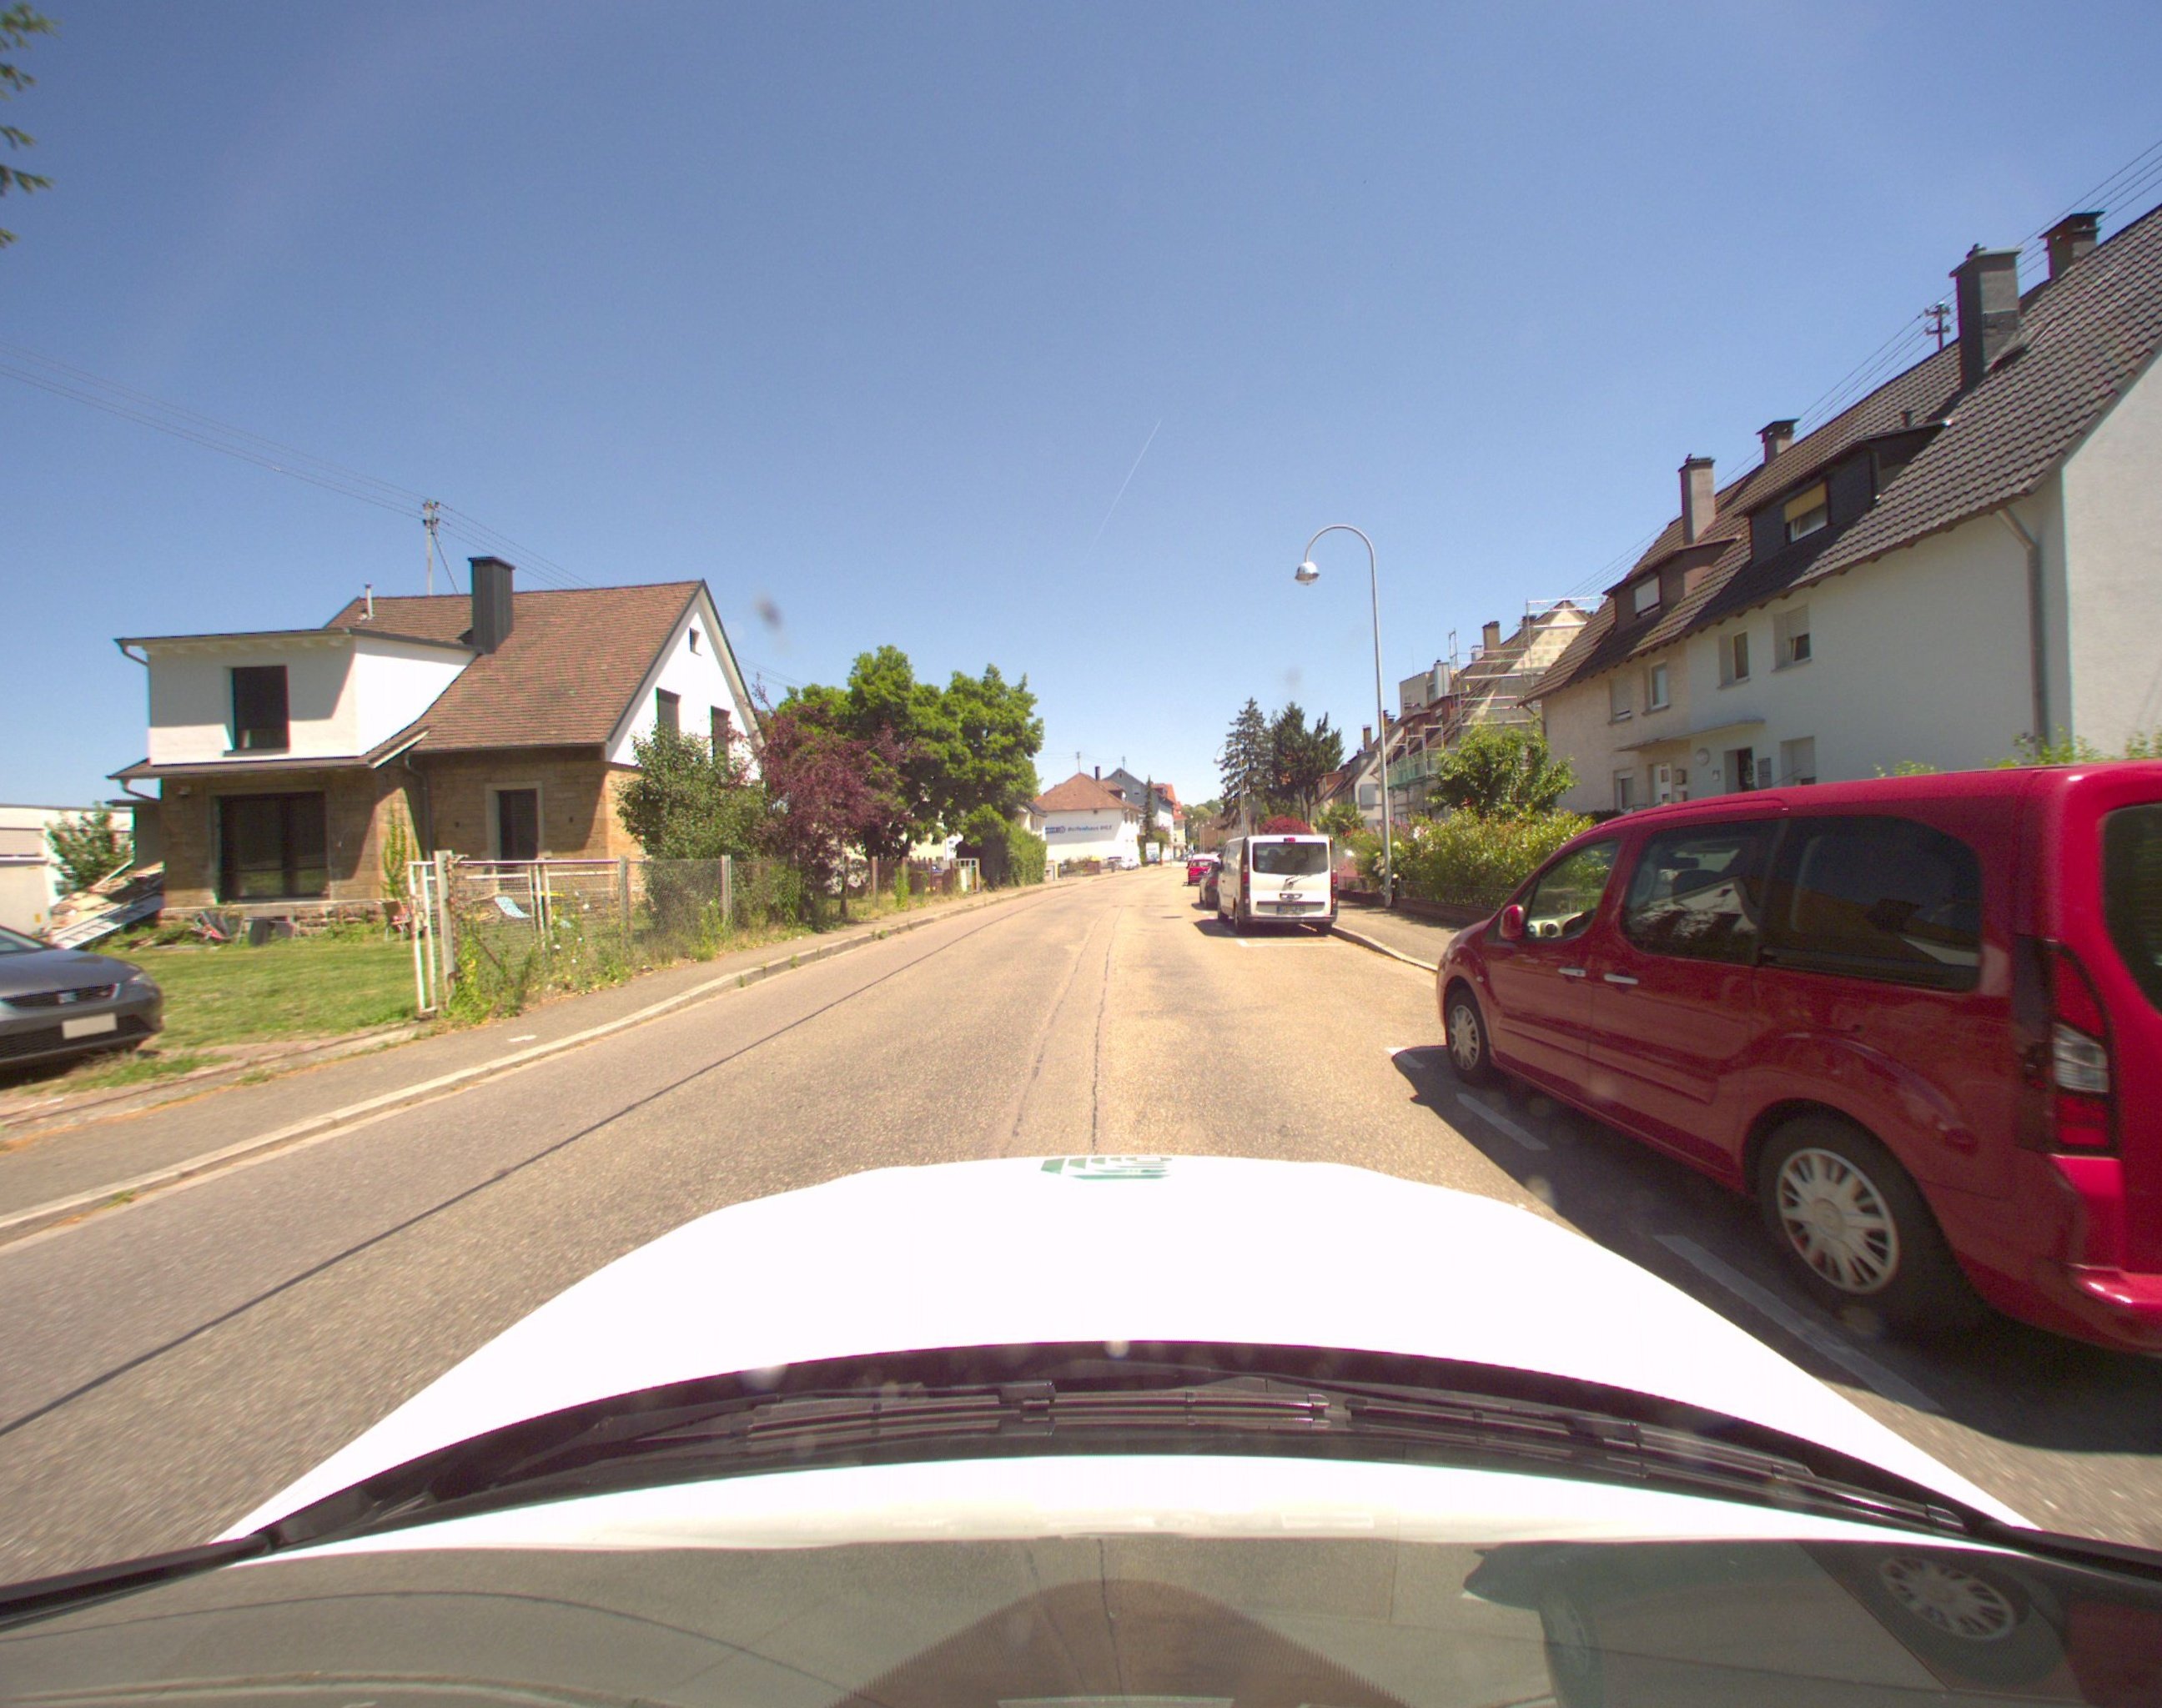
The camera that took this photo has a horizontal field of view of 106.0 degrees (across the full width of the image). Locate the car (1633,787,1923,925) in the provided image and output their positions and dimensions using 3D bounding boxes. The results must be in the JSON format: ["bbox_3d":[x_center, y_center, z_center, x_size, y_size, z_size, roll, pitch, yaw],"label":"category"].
[{"bbox_3d":[11.480,-0.005,13.892,1.733,1.856,4.413,-5,0,11],"label":"car"}]

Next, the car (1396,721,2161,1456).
[{"bbox_3d":[3.334,0.580,4.115,1.896,1.728,4.392,0,-1,1],"label":"car"}]

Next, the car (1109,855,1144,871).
[{"bbox_3d":[5.637,1.071,99.917,4.106,1.774,1.832,-2,0,7],"label":"car"}]

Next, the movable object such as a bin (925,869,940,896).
[{"bbox_3d":[-5.788,1.111,31.762,0.465,1.009,0.506,-1,-1,4],"label":"movable object such as a bin"}]

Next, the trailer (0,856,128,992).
[{"bbox_3d":[-19.242,1.196,14.144,3.846,2.171,1.830,-2,0,12],"label":"trailer"}]

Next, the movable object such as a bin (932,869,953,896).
[{"bbox_3d":[-5.292,1.086,31.192,0.705,0.996,0.474,-1,-1,1],"label":"movable object such as a bin"}]

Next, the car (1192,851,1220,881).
[{"bbox_3d":[7.718,0.771,50.017,1.654,1.755,4.010,0,-1,10],"label":"car"}]

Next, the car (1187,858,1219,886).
[{"bbox_3d":[6.726,0.963,45.034,1.654,1.455,4.009,-1,0,8],"label":"car"}]

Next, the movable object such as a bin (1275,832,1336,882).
[{"bbox_3d":[12.847,0.175,46.780,3.129,2.747,1.710,-1,-1,6],"label":"movable object such as a bin"}]

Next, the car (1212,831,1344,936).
[{"bbox_3d":[4.041,0.568,17.508,1.895,1.925,4.722,-1,0,3],"label":"car"}]

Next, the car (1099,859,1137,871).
[{"bbox_3d":[4.255,1.296,94.590,1.922,1.344,4.090,-1,0,-45],"label":"car"}]

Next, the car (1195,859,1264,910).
[{"bbox_3d":[4.420,0.860,24.709,1.648,1.398,4.005,-1,0,4],"label":"car"}]

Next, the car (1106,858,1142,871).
[{"bbox_3d":[5.163,1.256,97.365,4.103,1.394,1.834,-2,0,10],"label":"car"}]

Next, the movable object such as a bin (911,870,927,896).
[{"bbox_3d":[-6.332,1.119,31.817,0.465,1.009,0.506,-1,-1,4],"label":"movable object such as a bin"}]

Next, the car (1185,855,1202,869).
[{"bbox_3d":[12.875,0.876,92.816,1.783,1.510,4.011,-1,0,9],"label":"car"}]

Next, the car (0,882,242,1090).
[{"bbox_3d":[-9.635,1.088,6.517,3.966,1.424,1.972,-4,0,6],"label":"car"}]

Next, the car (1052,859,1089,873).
[{"bbox_3d":[-1.182,1.319,89.768,1.810,1.510,3.951,-2,0,-43],"label":"car"}]

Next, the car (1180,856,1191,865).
[{"bbox_3d":[19.054,1.238,148.958,1.746,1.656,4.012,-1,0,11],"label":"car"}]

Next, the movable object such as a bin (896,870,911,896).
[{"bbox_3d":[-6.949,1.128,31.880,0.465,1.009,0.506,-1,-1,4],"label":"movable object such as a bin"}]

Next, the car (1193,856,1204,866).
[{"bbox_3d":[20.146,1.197,139.726,1.746,1.656,4.012,-2,0,11],"label":"car"}]

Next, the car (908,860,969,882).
[{"bbox_3d":[-10.025,1.204,57.408,3.975,1.510,1.799,0,-1,-1],"label":"car"}]
